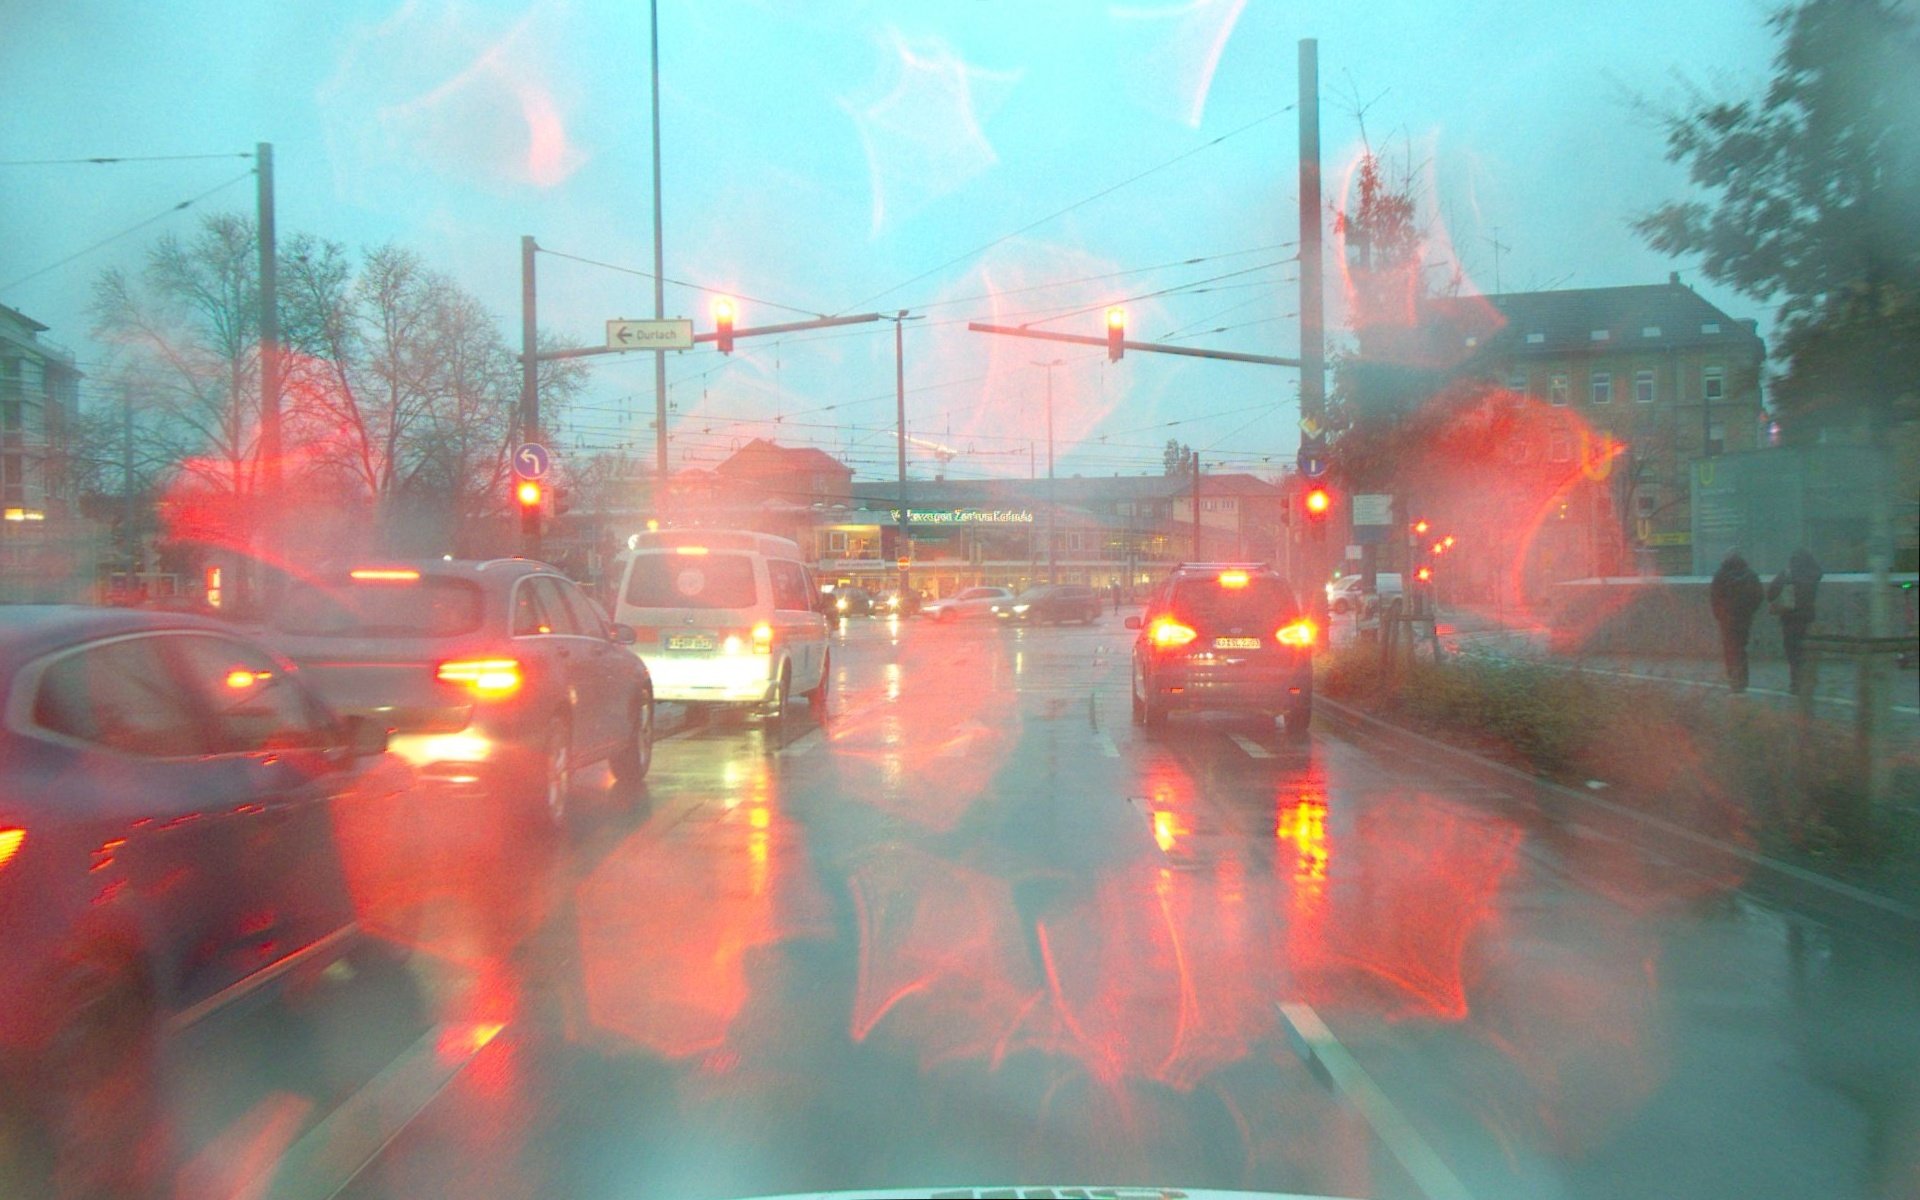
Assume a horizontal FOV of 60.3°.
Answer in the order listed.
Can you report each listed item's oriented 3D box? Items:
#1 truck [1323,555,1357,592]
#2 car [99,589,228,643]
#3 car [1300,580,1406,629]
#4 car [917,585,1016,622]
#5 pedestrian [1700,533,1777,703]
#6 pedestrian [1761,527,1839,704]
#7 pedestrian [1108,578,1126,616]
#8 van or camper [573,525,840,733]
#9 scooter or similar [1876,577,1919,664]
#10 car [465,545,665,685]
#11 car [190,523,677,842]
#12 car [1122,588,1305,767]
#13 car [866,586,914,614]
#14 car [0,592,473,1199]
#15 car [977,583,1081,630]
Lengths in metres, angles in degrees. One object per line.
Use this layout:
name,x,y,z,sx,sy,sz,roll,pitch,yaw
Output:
truck,29.139,-1.990,126.850,1.952,2.738,5.117,-1,0,19
car,-28.826,0.550,60.005,3.926,1.803,1.990,-2,0,-18
car,17.432,0.199,73.508,4.310,2.049,1.912,-1,0,4
car,0.250,0.150,68.195,3.738,1.390,1.846,-2,0,-12
pedestrian,9.252,0.195,19.654,0.791,1.963,0.759,1,3,26
pedestrian,9.969,0.159,19.654,0.791,2.048,0.759,1,3,26
pedestrian,7.753,-0.138,81.813,0.585,1.872,0.612,-1,0,-33
van or camper,-2.823,0.293,19.706,2.156,2.146,4.989,0,0,3
scooter or similar,13.785,0.287,24.171,0.504,1.235,1.377,-1,0,36
car,-5.468,0.190,23.388,1.846,1.803,4.000,0,0,0
car,-3.160,0.430,10.982,1.749,1.628,4.541,2,0,0
car,2.837,0.783,19.361,1.740,1.831,4.427,0,1,4
car,-3.822,0.001,90.998,1.774,1.472,4.004,-1,0,11
car,-2.798,0.707,4.969,1.626,1.428,4.117,1,0,-3
car,2.551,0.218,60.046,1.959,1.630,3.987,-1,0,34
